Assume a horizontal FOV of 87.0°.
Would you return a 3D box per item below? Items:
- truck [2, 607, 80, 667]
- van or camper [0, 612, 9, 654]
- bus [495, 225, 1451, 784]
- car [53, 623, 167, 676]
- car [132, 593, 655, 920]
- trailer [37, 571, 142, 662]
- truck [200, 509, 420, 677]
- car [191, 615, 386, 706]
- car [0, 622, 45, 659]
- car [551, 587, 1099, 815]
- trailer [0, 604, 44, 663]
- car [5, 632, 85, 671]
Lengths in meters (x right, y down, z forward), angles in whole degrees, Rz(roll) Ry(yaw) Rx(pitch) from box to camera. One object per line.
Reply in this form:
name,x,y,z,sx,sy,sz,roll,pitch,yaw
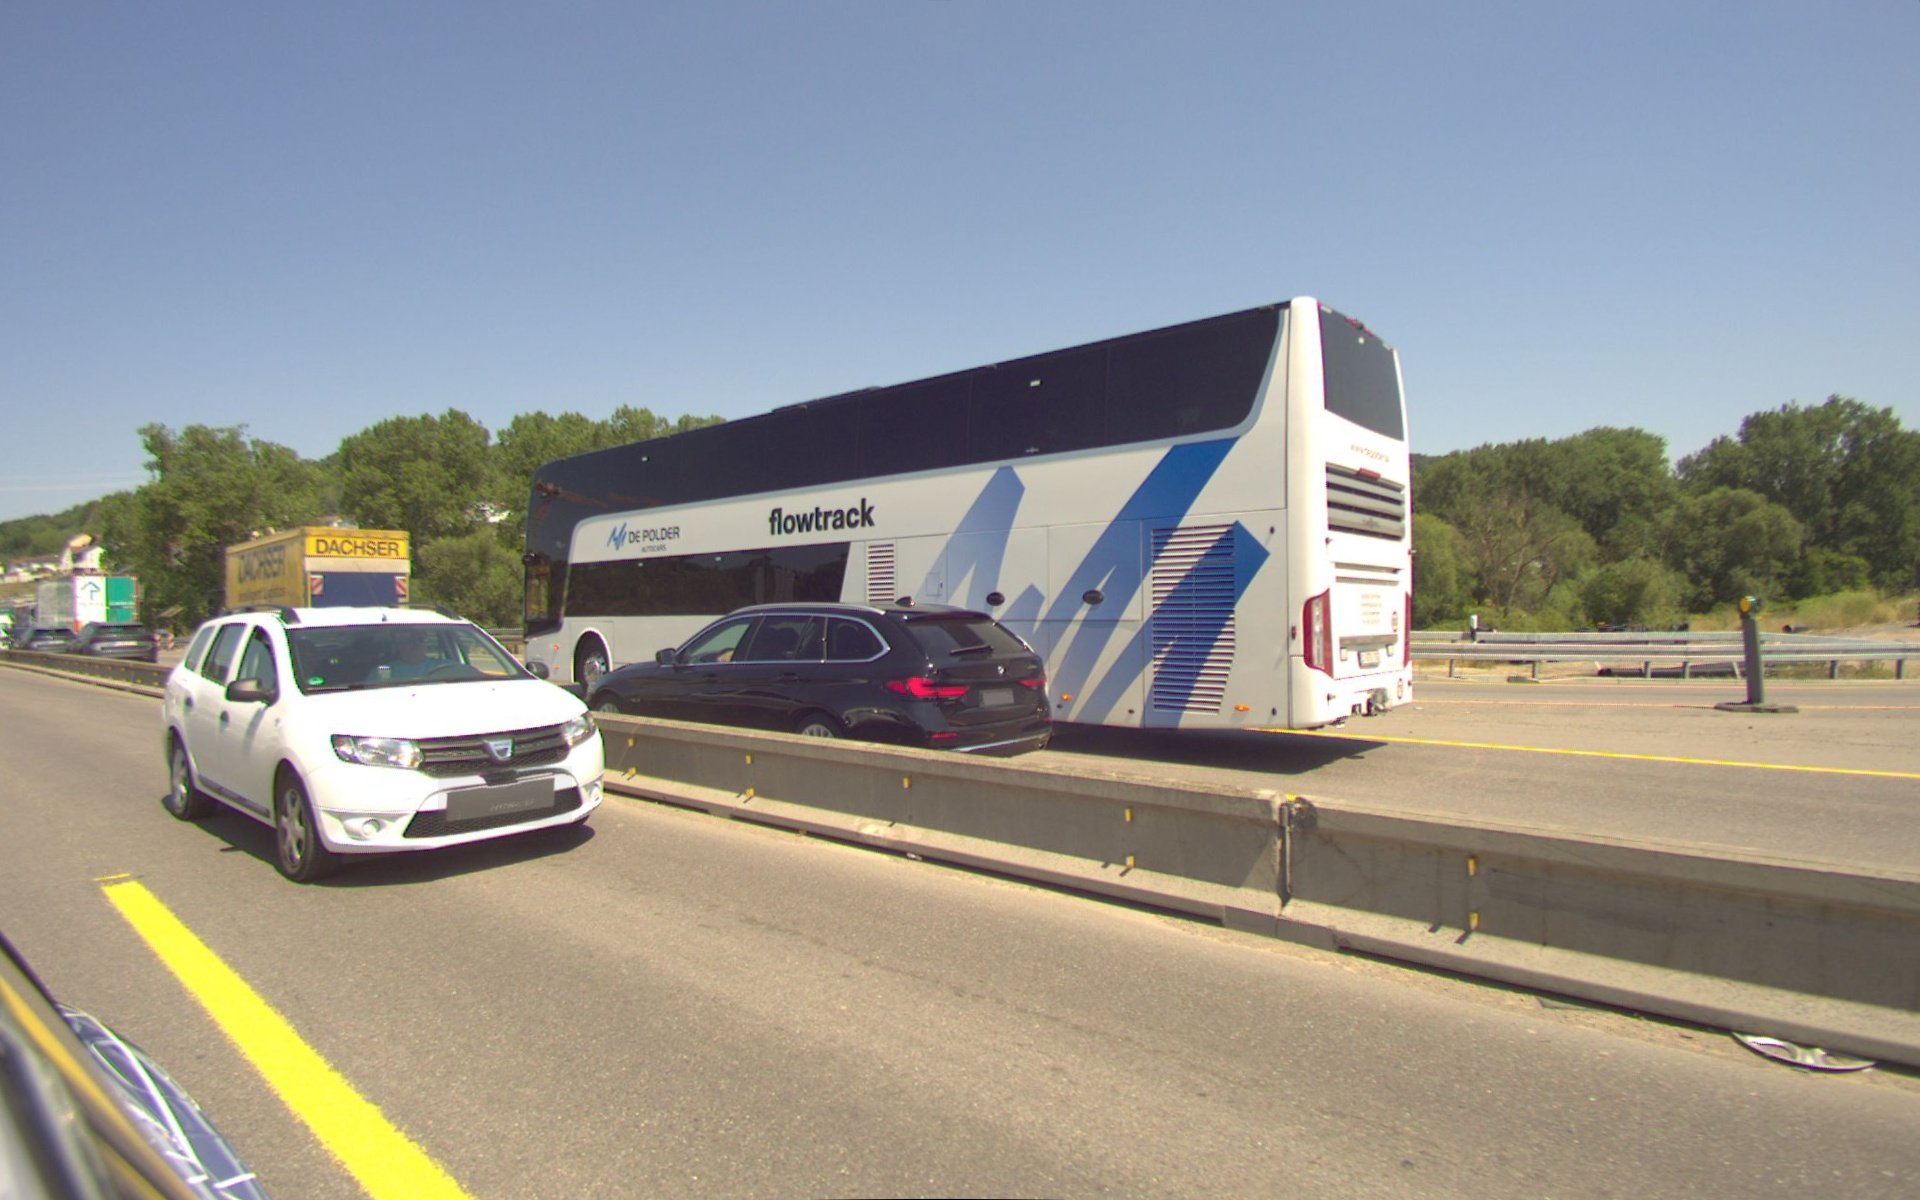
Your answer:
truck,-64.278,2.603,70.715,8.361,3.793,2.875,-4,-1,40
van or camper,-60.759,2.062,62.624,6.530,2.530,2.195,-2,-1,42
bus,-1.600,-0.594,13.562,14.468,4.296,2.711,-2,-1,41
car,-25.997,1.492,30.903,4.901,1.505,1.840,-2,-3,40
car,-4.193,0.784,7.067,4.705,1.542,1.799,-2,-1,42
trailer,-47.498,0.991,55.010,13.165,4.464,2.785,-2,-2,42
truck,-19.212,-0.077,29.508,10.075,4.184,2.773,-2,-1,42
car,-12.653,1.055,18.918,4.927,1.454,1.819,-2,-1,41
car,-48.360,2.030,51.307,5.779,1.739,2.346,-2,-1,42
car,-1.454,0.740,8.963,5.088,1.434,1.898,-3,0,41
trailer,-77.940,2.849,82.899,13.015,4.499,3.068,-4,-3,42
car,-37.432,2.048,41.347,5.122,1.443,1.862,-2,-1,41
